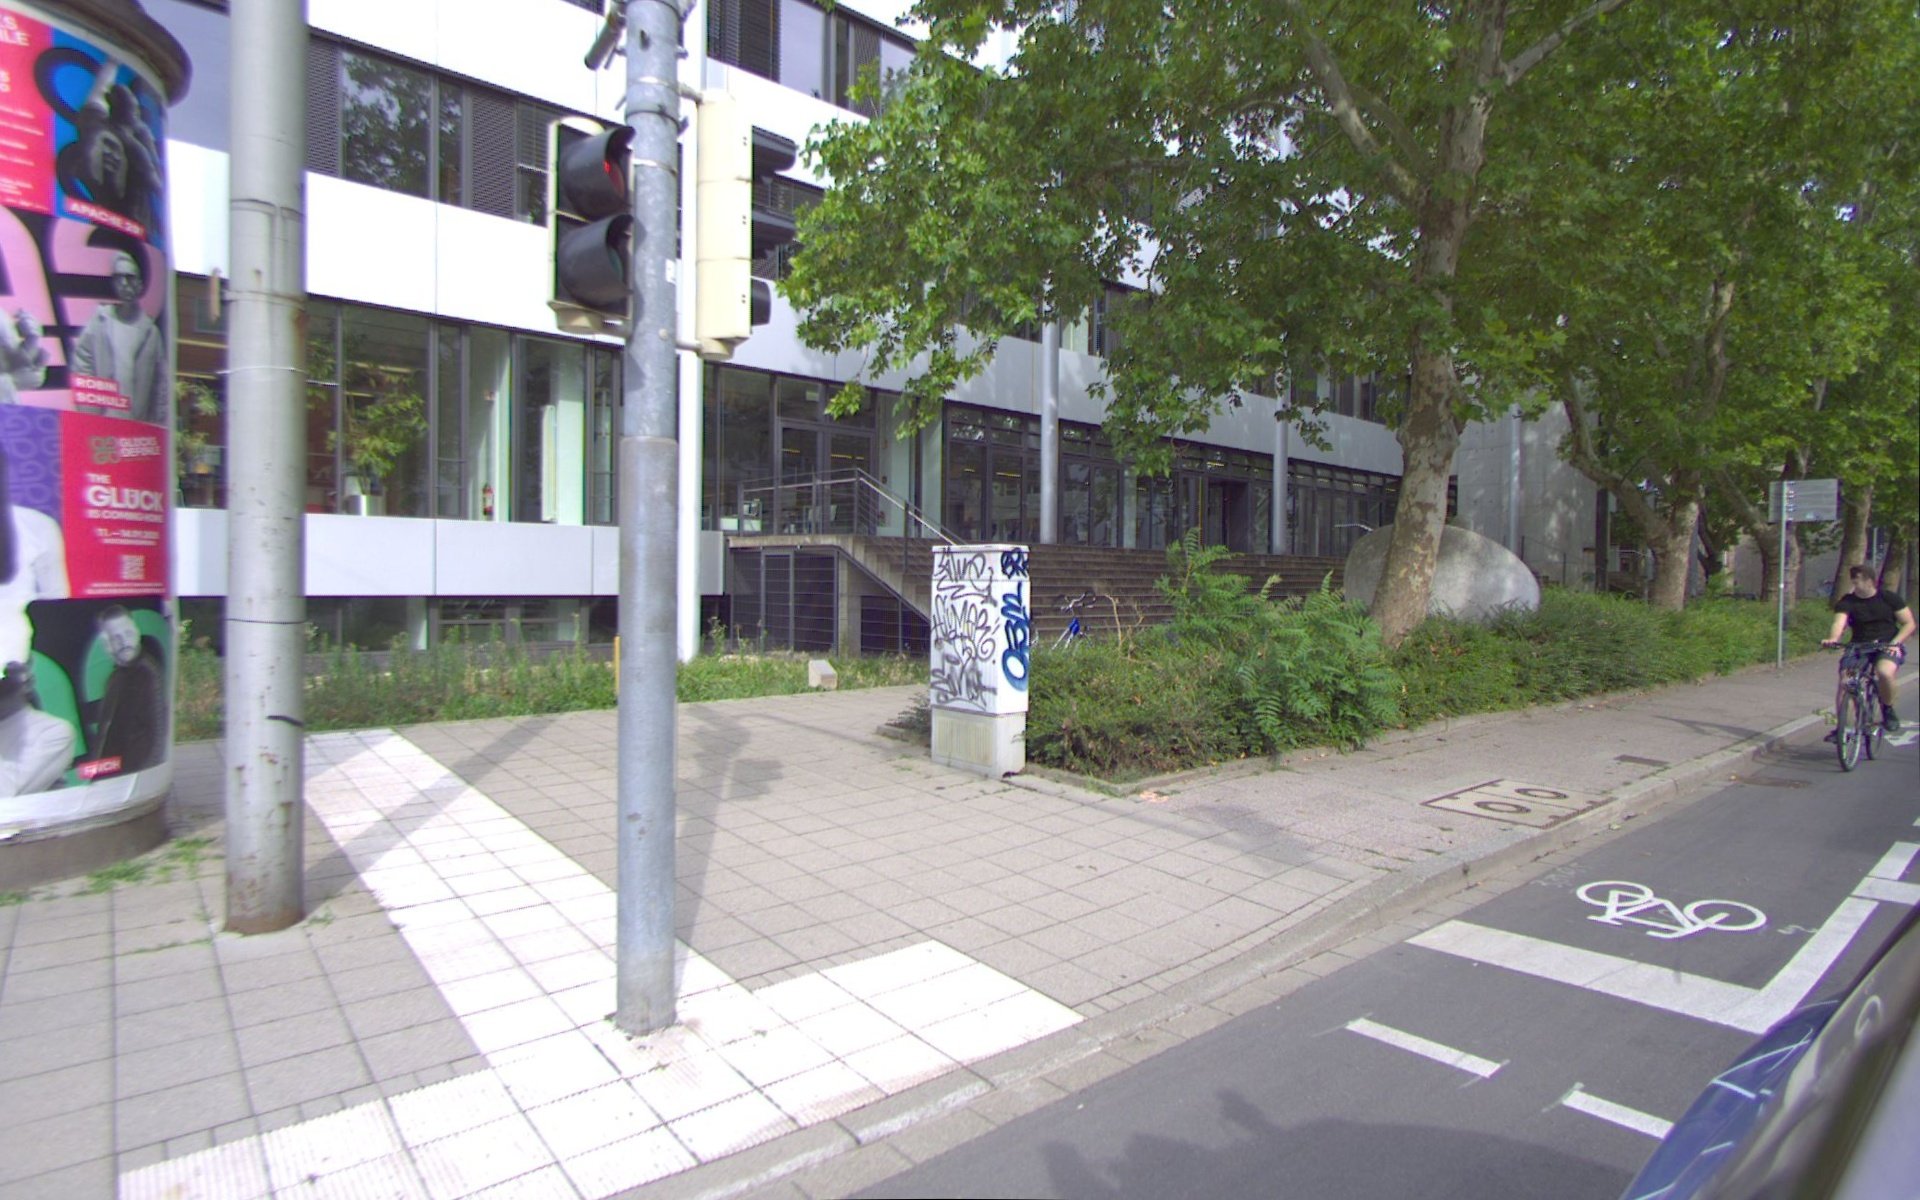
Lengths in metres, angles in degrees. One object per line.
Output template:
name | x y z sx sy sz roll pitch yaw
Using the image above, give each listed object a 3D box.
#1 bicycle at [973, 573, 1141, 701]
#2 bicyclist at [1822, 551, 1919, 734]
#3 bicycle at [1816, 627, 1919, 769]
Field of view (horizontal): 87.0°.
bicycle | 0.998 0.336 10.146 1.695 1.184 0.699 0 -1 -41
bicyclist | 8.532 0.379 9.347 0.788 1.603 0.771 1 -2 -45
bicycle | 8.487 0.840 9.279 1.971 1.145 0.771 0 -2 -45
